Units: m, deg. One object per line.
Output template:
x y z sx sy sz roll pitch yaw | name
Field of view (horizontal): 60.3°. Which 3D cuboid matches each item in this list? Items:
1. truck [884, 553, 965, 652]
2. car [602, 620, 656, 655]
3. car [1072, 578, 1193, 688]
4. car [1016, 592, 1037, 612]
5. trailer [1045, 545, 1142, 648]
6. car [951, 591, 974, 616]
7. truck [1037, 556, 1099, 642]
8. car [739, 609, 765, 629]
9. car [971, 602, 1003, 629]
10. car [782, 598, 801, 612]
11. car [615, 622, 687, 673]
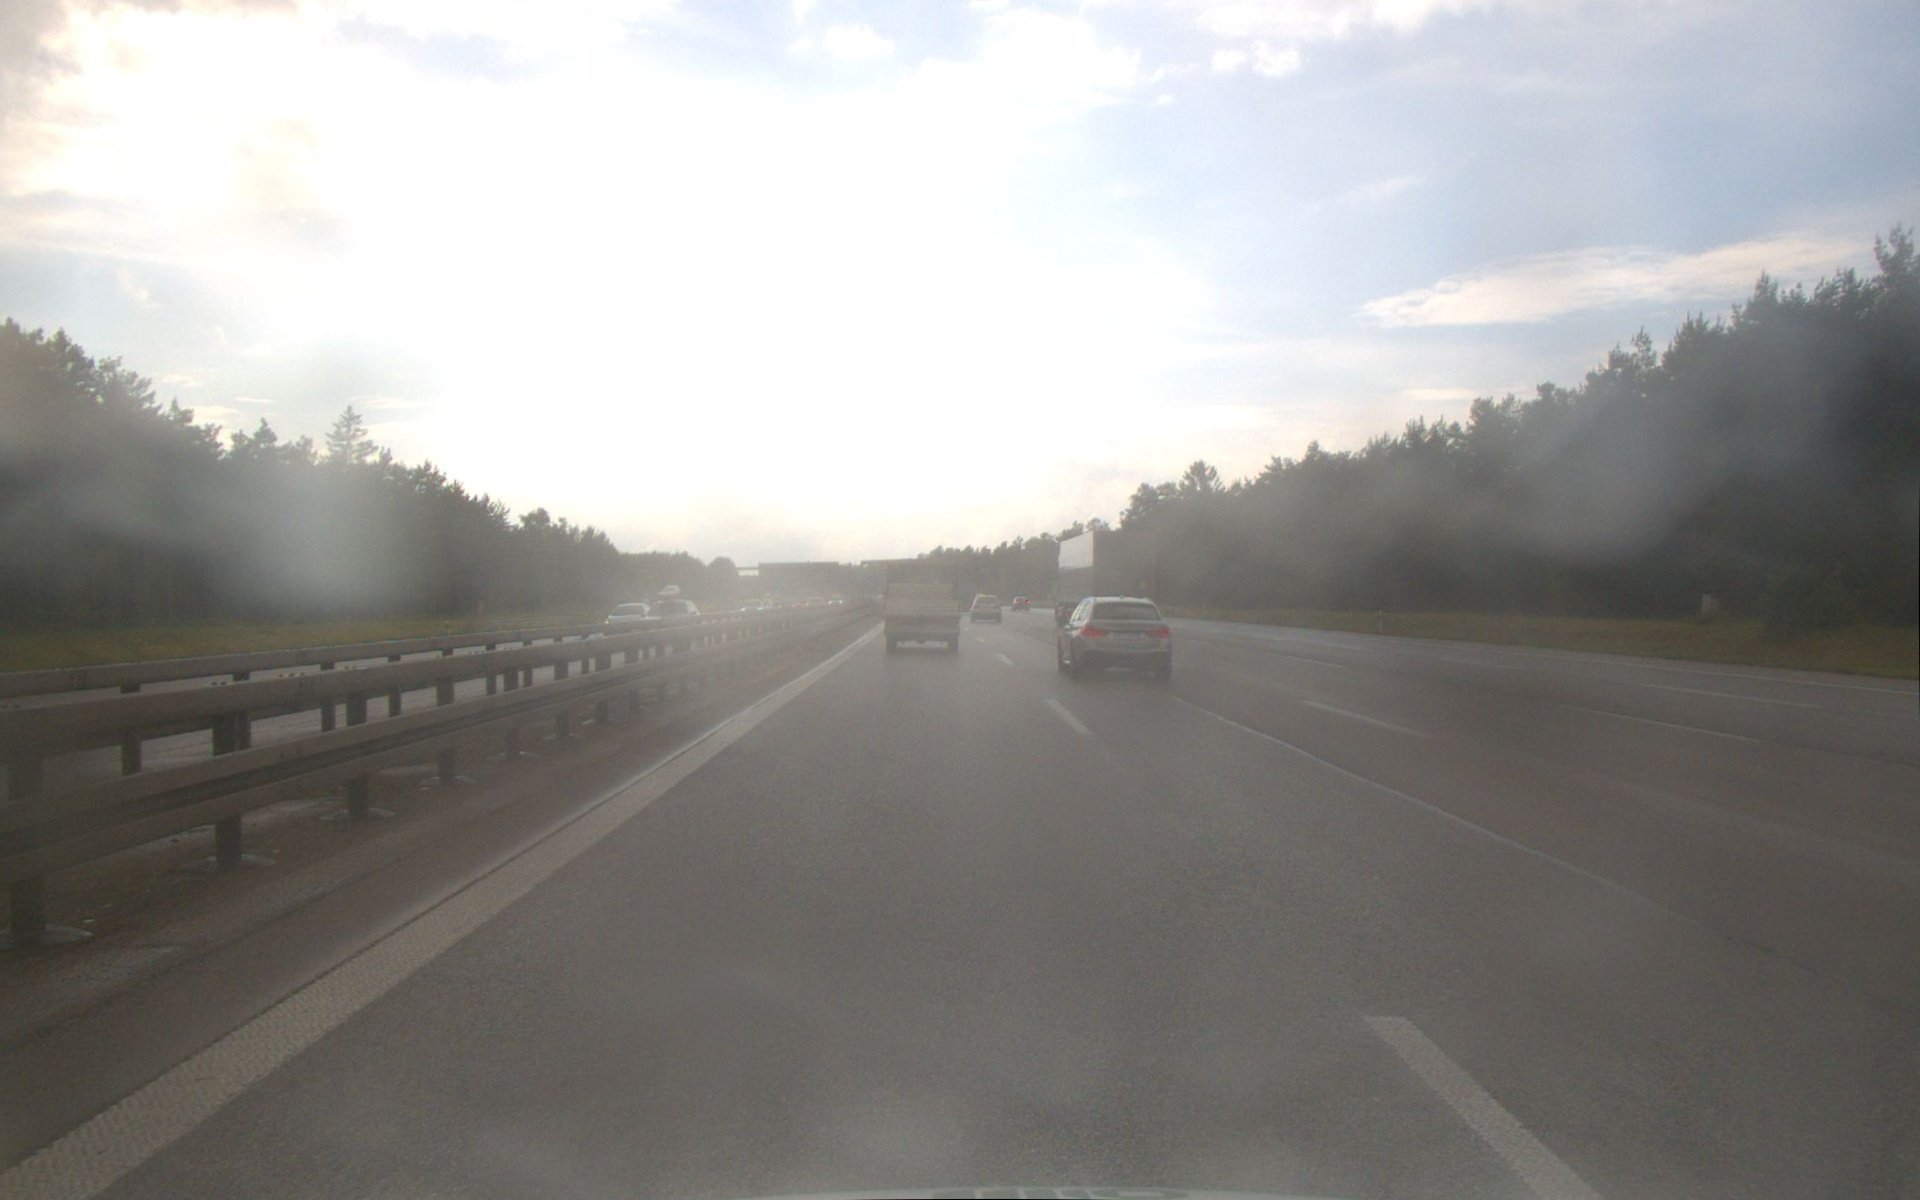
-0.978 0.059 45.201 2.094 2.532 5.311 0 0 -1 | truck
-14.721 1.659 73.716 1.792 1.445 4.569 1 0 -4 | car
3.220 0.578 31.759 2.034 1.918 5.013 0 0 3 | car
6.934 0.174 173.427 1.953 2.049 3.999 1 0 -1 | car
5.600 -0.131 71.899 2.278 4.071 13.401 0 0 -4 | trailer
0.212 0.247 137.770 1.869 2.049 3.999 0 0 -1 | car
5.103 -0.041 79.014 2.248 3.935 5.387 0 0 -4 | truck
-16.247 1.463 129.538 1.694 1.507 3.998 -1 0 -3 | car
1.561 0.897 95.193 1.793 1.492 4.000 1 0 0 | car
-18.357 0.532 180.238 1.775 1.447 4.234 -3 0 -2 | car
-10.741 1.634 57.794 1.749 1.574 4.401 -2 0 -2 | car
